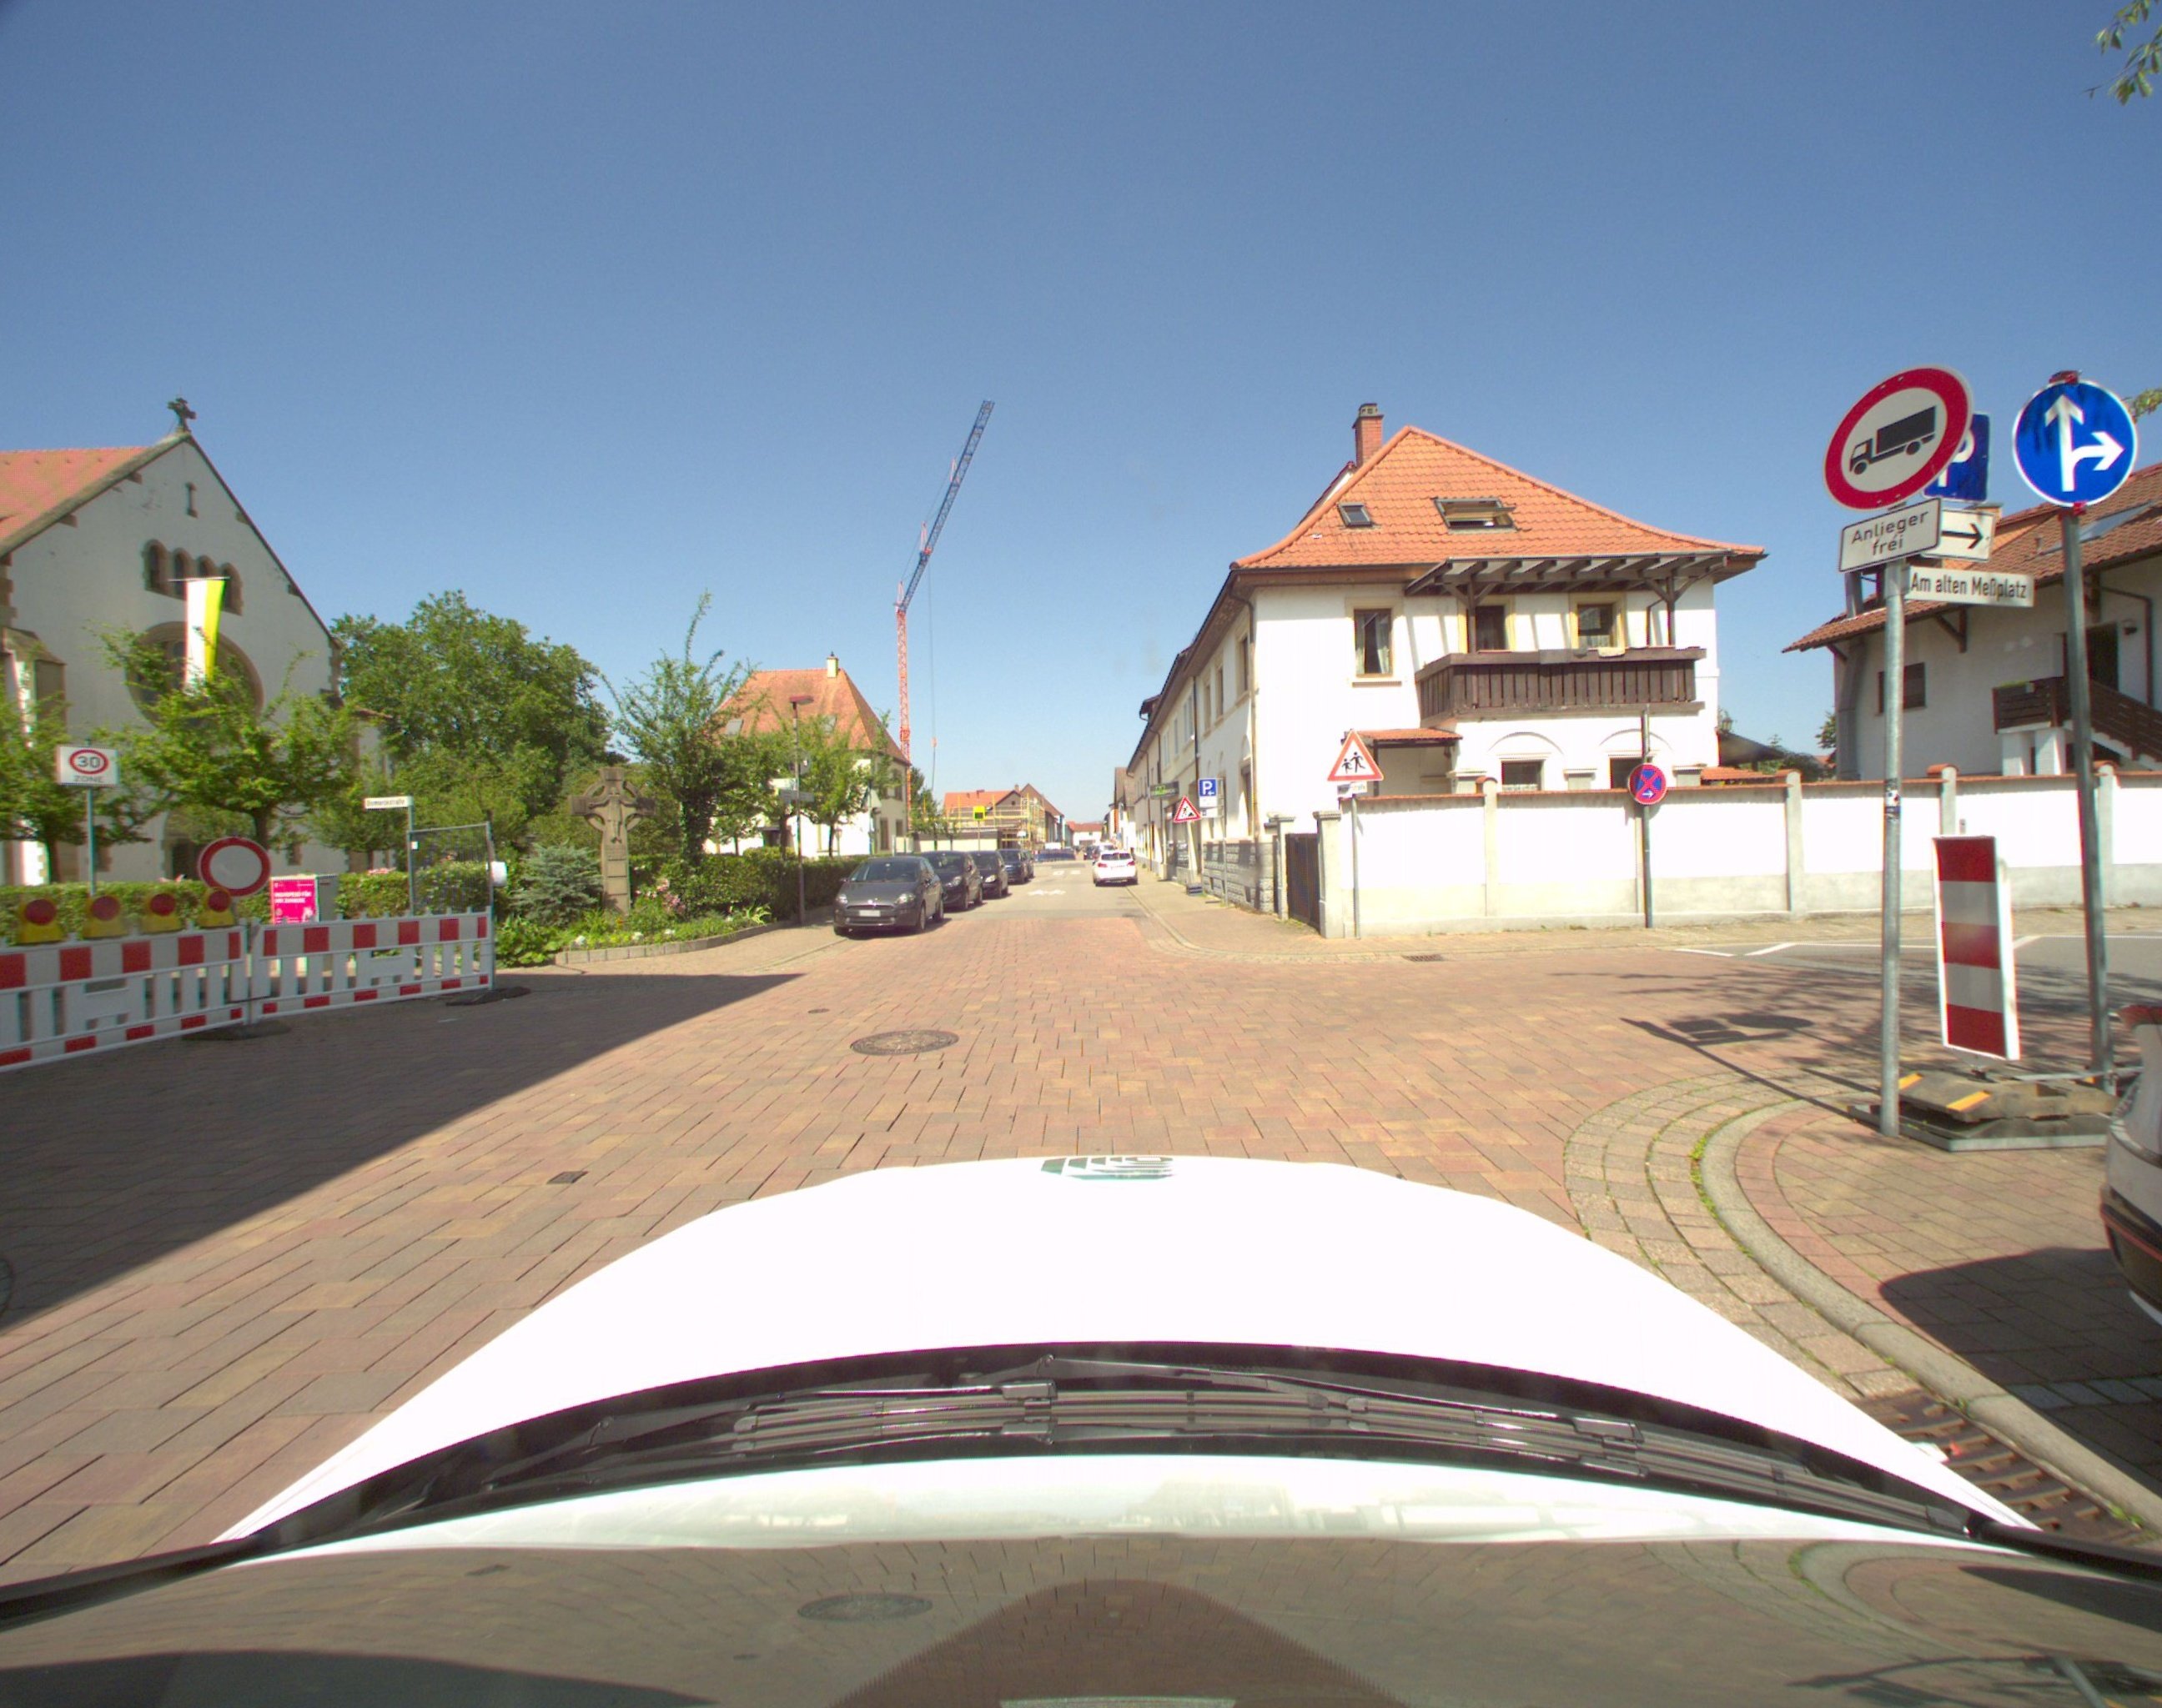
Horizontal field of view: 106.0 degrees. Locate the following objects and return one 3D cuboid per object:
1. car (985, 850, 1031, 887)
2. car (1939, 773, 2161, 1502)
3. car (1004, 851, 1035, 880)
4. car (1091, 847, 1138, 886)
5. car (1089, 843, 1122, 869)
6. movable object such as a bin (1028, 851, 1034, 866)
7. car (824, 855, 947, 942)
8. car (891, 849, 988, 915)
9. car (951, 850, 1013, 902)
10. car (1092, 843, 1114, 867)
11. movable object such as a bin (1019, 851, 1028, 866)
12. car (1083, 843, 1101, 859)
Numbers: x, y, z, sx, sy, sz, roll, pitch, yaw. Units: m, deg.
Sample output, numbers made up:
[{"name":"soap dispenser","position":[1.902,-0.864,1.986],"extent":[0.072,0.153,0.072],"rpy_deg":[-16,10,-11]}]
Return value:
[{"name":"car","position":[-3.448,0.653,39.054],"extent":[1.821,1.630,4.215],"rpy_deg":[-2,0,-1]},{"name":"car","position":[4.489,0.487,1.229],"extent":[4.424,1.575,1.789],"rpy_deg":[-4,0,1]},{"name":"car","position":[-3.329,0.573,44.491],"extent":[1.432,1.474,3.785],"rpy_deg":[-2,0,-1]},{"name":"car","position":[1.505,0.486,35.360],"extent":[1.878,1.542,4.247],"rpy_deg":[-2,0,4]},{"name":"car","position":[1.624,0.105,54.885],"extent":[1.880,1.556,3.891],"rpy_deg":[-5,1,-2]},{"name":"movable object such as a bin","position":[-3.945,0.378,64.215],"extent":[0.431,1.155,0.363],"rpy_deg":[-2,0,-9]},{"name":"car","position":[-3.867,0.801,16.714],"extent":[1.698,1.496,3.853],"rpy_deg":[-2,0,-3]},{"name":"car","position":[-3.798,0.685,22.597],"extent":[1.808,1.605,4.026],"rpy_deg":[-2,0,2]},{"name":"car","position":[-3.369,0.706,28.270],"extent":[1.632,1.628,3.768],"rpy_deg":[-2,1,0]},{"name":"car","position":[1.600,0.038,60.384],"extent":[1.559,1.612,3.543],"rpy_deg":[-2,3,0]},{"name":"movable object such as a bin","position":[-4.479,0.381,63.721],"extent":[0.621,1.155,0.676],"rpy_deg":[-2,0,-7]},{"name":"car","position":[1.135,-0.357,87.593],"extent":[1.875,1.668,4.153],"rpy_deg":[-1,0,0]}]
